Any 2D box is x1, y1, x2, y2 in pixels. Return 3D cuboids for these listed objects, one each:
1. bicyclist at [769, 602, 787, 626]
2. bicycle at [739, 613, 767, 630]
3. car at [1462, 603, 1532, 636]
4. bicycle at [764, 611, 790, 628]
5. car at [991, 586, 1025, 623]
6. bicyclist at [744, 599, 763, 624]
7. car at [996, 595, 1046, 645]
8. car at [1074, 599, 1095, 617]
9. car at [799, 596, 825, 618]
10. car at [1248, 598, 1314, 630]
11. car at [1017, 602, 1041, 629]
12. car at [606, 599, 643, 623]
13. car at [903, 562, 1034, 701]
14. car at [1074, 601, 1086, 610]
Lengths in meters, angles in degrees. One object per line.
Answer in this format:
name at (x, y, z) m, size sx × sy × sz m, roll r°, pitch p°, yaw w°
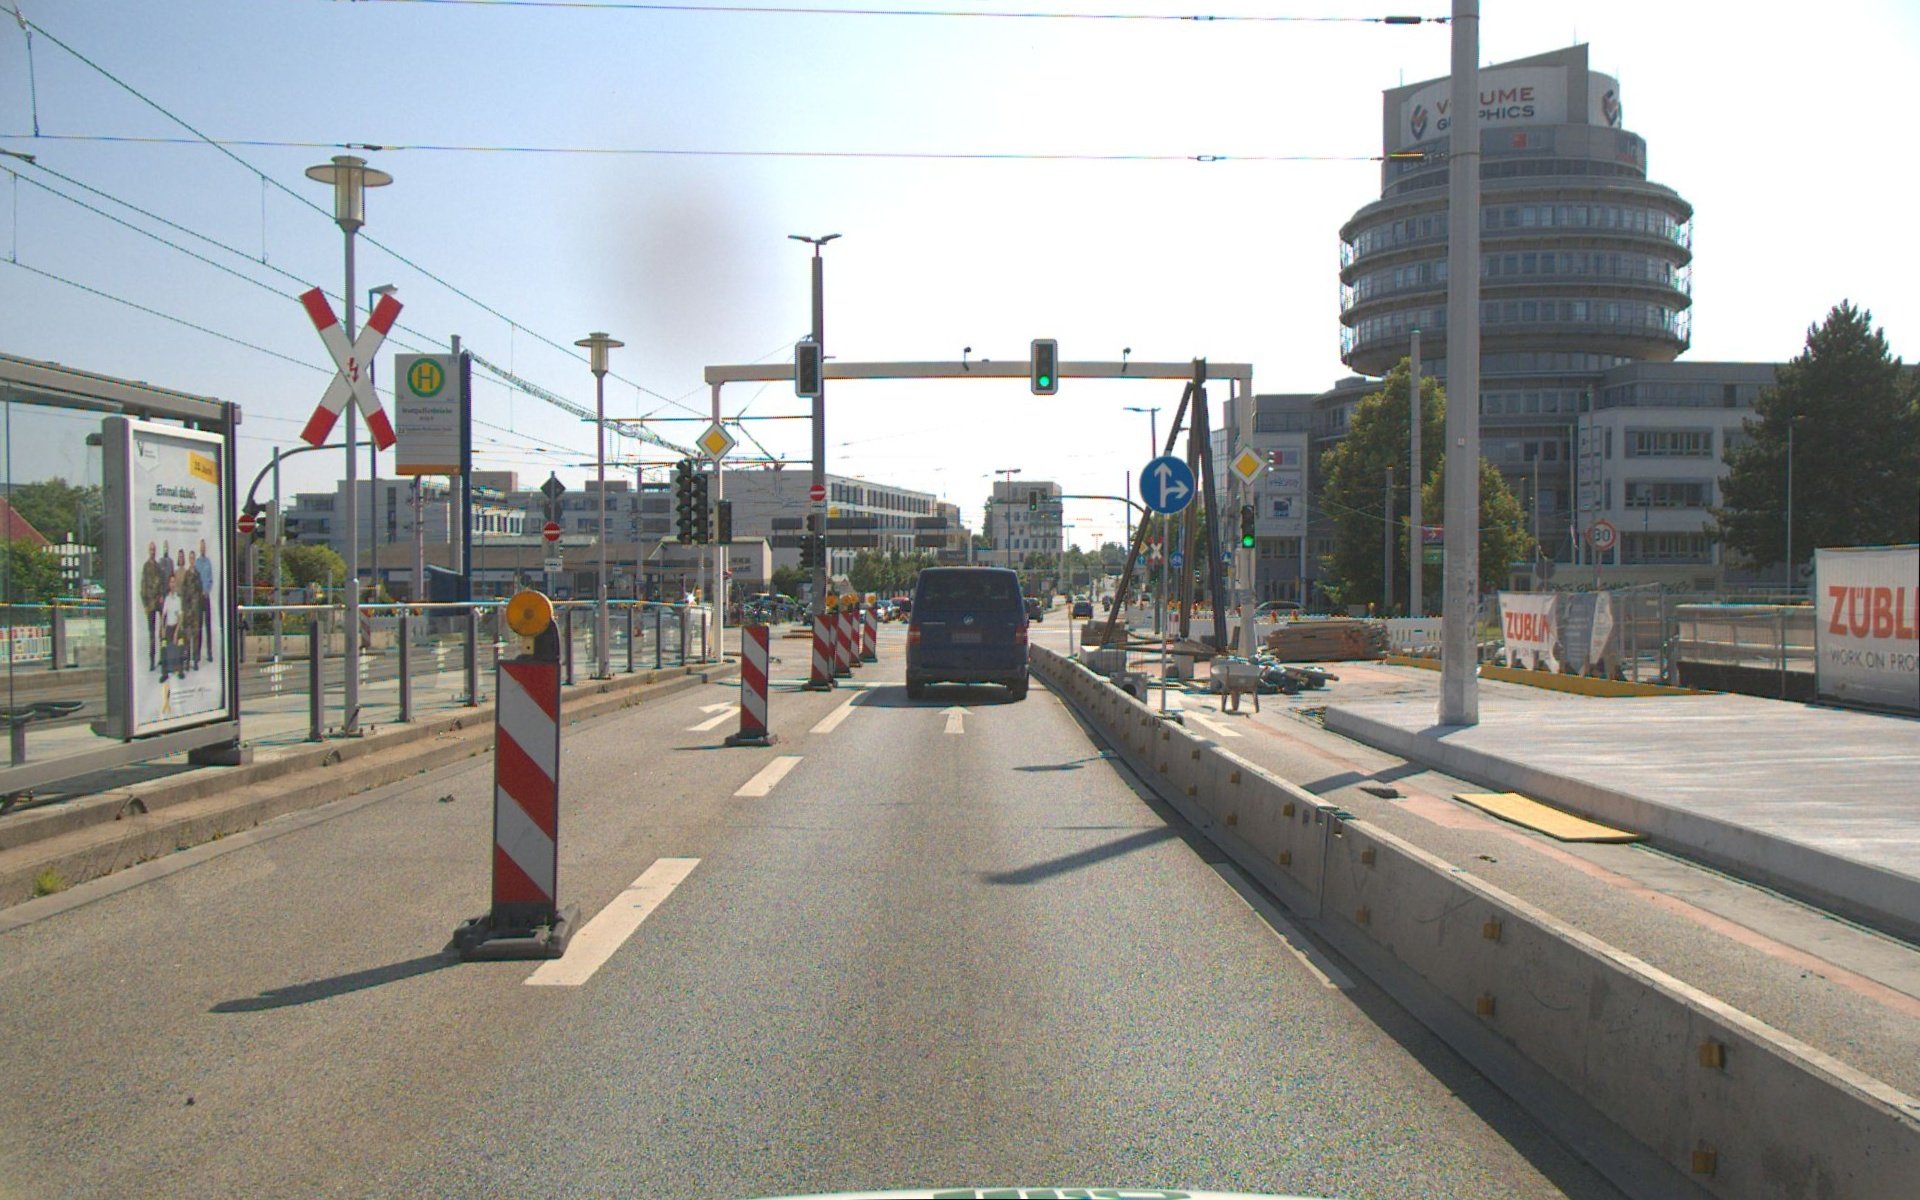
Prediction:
bicyclist at (-12.706, 0.947, 115.273) m, size 0.857 × 1.606 × 0.970 m, roll 4°, pitch 0°, yaw 14°
bicycle at (-13.973, 1.439, 111.636) m, size 0.863 × 1.088 × 2.809 m, roll 4°, pitch 0°, yaw 14°
car at (32.994, 1.190, 101.610) m, size 3.735 × 1.829 × 1.681 m, roll 1°, pitch 1°, yaw -1°
bicycle at (-12.742, 1.343, 115.225) m, size 0.863 × 1.088 × 2.809 m, roll 4°, pitch 0°, yaw 14°
car at (2.431, 0.201, 83.813) m, size 1.611 × 1.758 × 4.001 m, roll 2°, pitch 1°, yaw 2°
bicyclist at (-13.929, 0.768, 111.633) m, size 0.857 × 1.606 × 0.970 m, roll 4°, pitch 0°, yaw 14°
car at (2.175, 0.692, 59.828) m, size 1.649 × 1.634 × 3.617 m, roll 1°, pitch 1°, yaw 0°
car at (10.677, 0.685, 142.084) m, size 1.707 × 1.501 × 3.887 m, roll 0°, pitch 0°, yaw 5°
car at (-11.039, 0.512, 123.279) m, size 1.712 × 1.512 × 3.999 m, roll 0°, pitch 0°, yaw -2°
car at (19.852, 0.856, 102.307) m, size 3.735 × 1.829 × 1.681 m, roll 1°, pitch 1°, yaw -1°
car at (4.855, 1.096, 116.221) m, size 1.611 × 1.758 × 3.718 m, roll 2°, pitch 1°, yaw 2°
car at (-23.483, 0.758, 115.923) m, size 1.741 × 1.565 × 4.000 m, roll 1°, pitch 0°, yaw 0°
car at (0.102, 0.414, 25.942) m, size 1.849 × 1.968 × 4.000 m, roll 1°, pitch 1°, yaw -1°
car at (18.200, 0.875, 251.749) m, size 1.516 × 1.363 × 3.015 m, roll 1°, pitch 0°, yaw -2°
